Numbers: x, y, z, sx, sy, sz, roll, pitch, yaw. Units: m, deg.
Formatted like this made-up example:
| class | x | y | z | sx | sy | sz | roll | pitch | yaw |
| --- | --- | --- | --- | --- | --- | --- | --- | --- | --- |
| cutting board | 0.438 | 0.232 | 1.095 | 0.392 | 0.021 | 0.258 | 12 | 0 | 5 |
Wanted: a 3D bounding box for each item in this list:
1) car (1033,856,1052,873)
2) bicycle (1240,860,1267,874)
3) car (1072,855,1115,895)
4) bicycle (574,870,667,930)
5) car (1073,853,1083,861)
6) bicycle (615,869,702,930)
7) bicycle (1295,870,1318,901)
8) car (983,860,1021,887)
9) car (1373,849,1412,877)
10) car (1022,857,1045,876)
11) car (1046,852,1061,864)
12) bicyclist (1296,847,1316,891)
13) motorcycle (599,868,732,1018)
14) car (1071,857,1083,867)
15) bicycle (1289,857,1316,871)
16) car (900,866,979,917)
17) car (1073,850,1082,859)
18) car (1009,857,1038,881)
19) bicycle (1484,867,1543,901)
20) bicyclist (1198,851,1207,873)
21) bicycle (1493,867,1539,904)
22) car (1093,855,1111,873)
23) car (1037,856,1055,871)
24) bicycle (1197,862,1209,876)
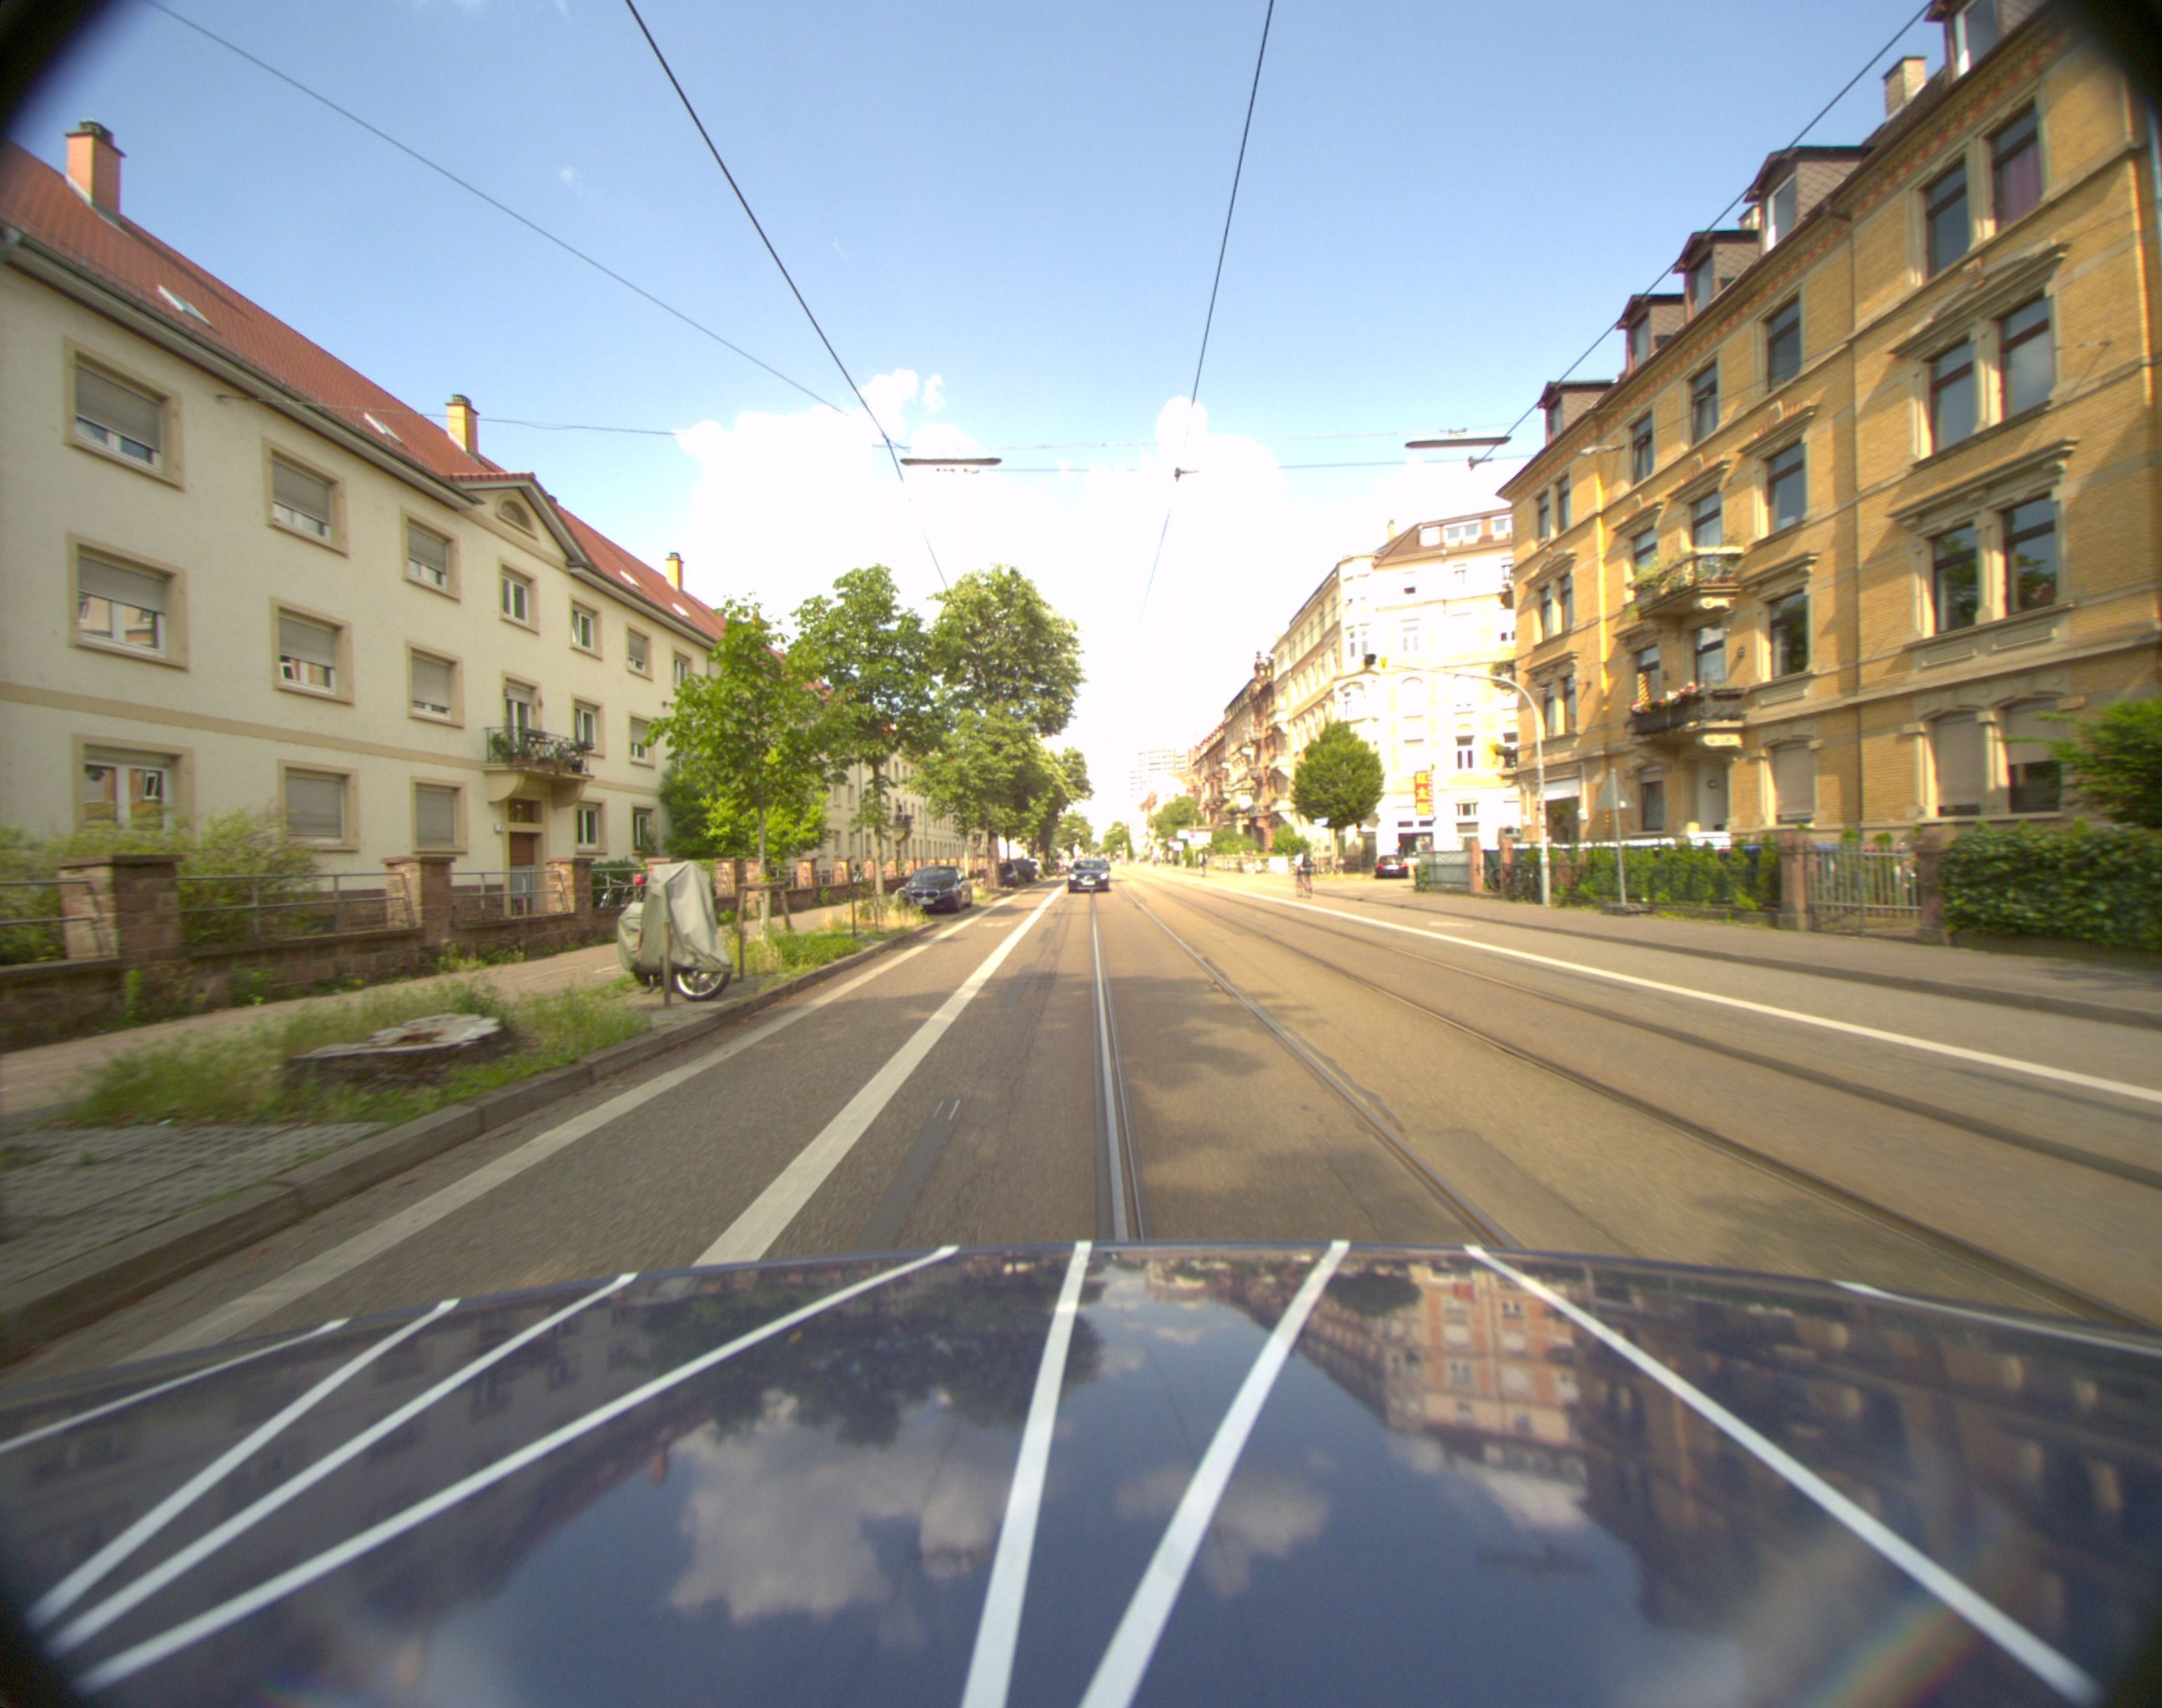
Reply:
| class | x | y | z | sx | sy | sz | roll | pitch | yaw |
| --- | --- | --- | --- | --- | --- | --- | --- | --- | --- |
| car | -3.784 | 1.042 | 74.828 | 1.693 | 1.537 | 3.460 | -2 | 0 | 0 |
| bicycle | 11.963 | 0.906 | 52.651 | 1.750 | 0.936 | 0.484 | 1 | 1 | 25 |
| car | 0.493 | 0.857 | 32.880 | 1.693 | 1.568 | 4.156 | -2 | 0 | 0 |
| bicycle | -10.475 | 1.012 | 17.401 | 0.691 | 1.229 | 2.233 | -2 | 0 | 1 |
| car | -0.521 | 0.529 | 132.791 | 1.693 | 1.380 | 4.000 | -2 | 0 | 0 |
| bicycle | -9.632 | 1.003 | 17.447 | 0.691 | 1.229 | 2.233 | -2 | 0 | 1 |
| bicycle | 7.596 | 1.047 | 25.660 | 0.607 | 0.936 | 1.756 | 0 | 1 | 13 |
| car | -4.422 | 1.084 | 42.952 | 1.693 | 1.380 | 4.000 | -2 | 0 | 0 |
| car | 17.715 | 0.486 | 43.328 | 1.778 | 1.521 | 3.870 | -2 | 0 | 19 |
| car | -4.016 | 1.045 | 64.790 | 1.693 | 1.537 | 3.775 | -2 | 0 | 0 |
| car | -3.519 | 0.494 | 96.525 | 1.693 | 1.537 | 3.460 | -2 | 0 | 0 |
| bicyclist | 7.609 | 0.496 | 25.692 | 0.614 | 1.490 | 0.743 | 0 | 1 | 13 |
| motorcycle | -4.787 | 0.923 | 8.682 | 0.812 | 1.485 | 2.065 | -2 | 0 | -43 |
| car | -0.641 | 1.122 | 113.154 | 1.693 | 1.380 | 4.000 | -2 | 0 | 0 |
| bicycle | 15.464 | 0.679 | 53.060 | 1.753 | 0.936 | 0.483 | 0 | 1 | -1 |
| car | -4.372 | 1.111 | 23.977 | 1.693 | 1.380 | 4.000 | -2 | 0 | 0 |
| car | -0.662 | 0.080 | 154.329 | 1.694 | 1.831 | 5.028 | -2 | 0 | -1 |
| car | -3.998 | 1.015 | 53.098 | 1.693 | 1.537 | 3.617 | -2 | 0 | 0 |
| bicycle | 12.239 | 0.861 | 21.516 | 1.431 | 0.935 | 0.401 | 0 | -2 | 3 |
| bicyclist | 8.421 | 0.566 | 52.574 | 0.477 | 1.490 | 0.743 | 0 | 1 | -2 |
| bicycle | 11.274 | 0.817 | 19.747 | 0.400 | 0.935 | 1.473 | 1 | -2 | 3 |
| car | 2.212 | 1.071 | 80.019 | 1.715 | 1.718 | 3.736 | -2 | 1 | 1 |
| car | -3.736 | 0.959 | 81.472 | 1.693 | 1.537 | 3.460 | -2 | 0 | 0 |
| bicycle | 8.419 | 1.058 | 52.644 | 0.483 | 0.936 | 1.754 | 0 | 1 | -2 |
